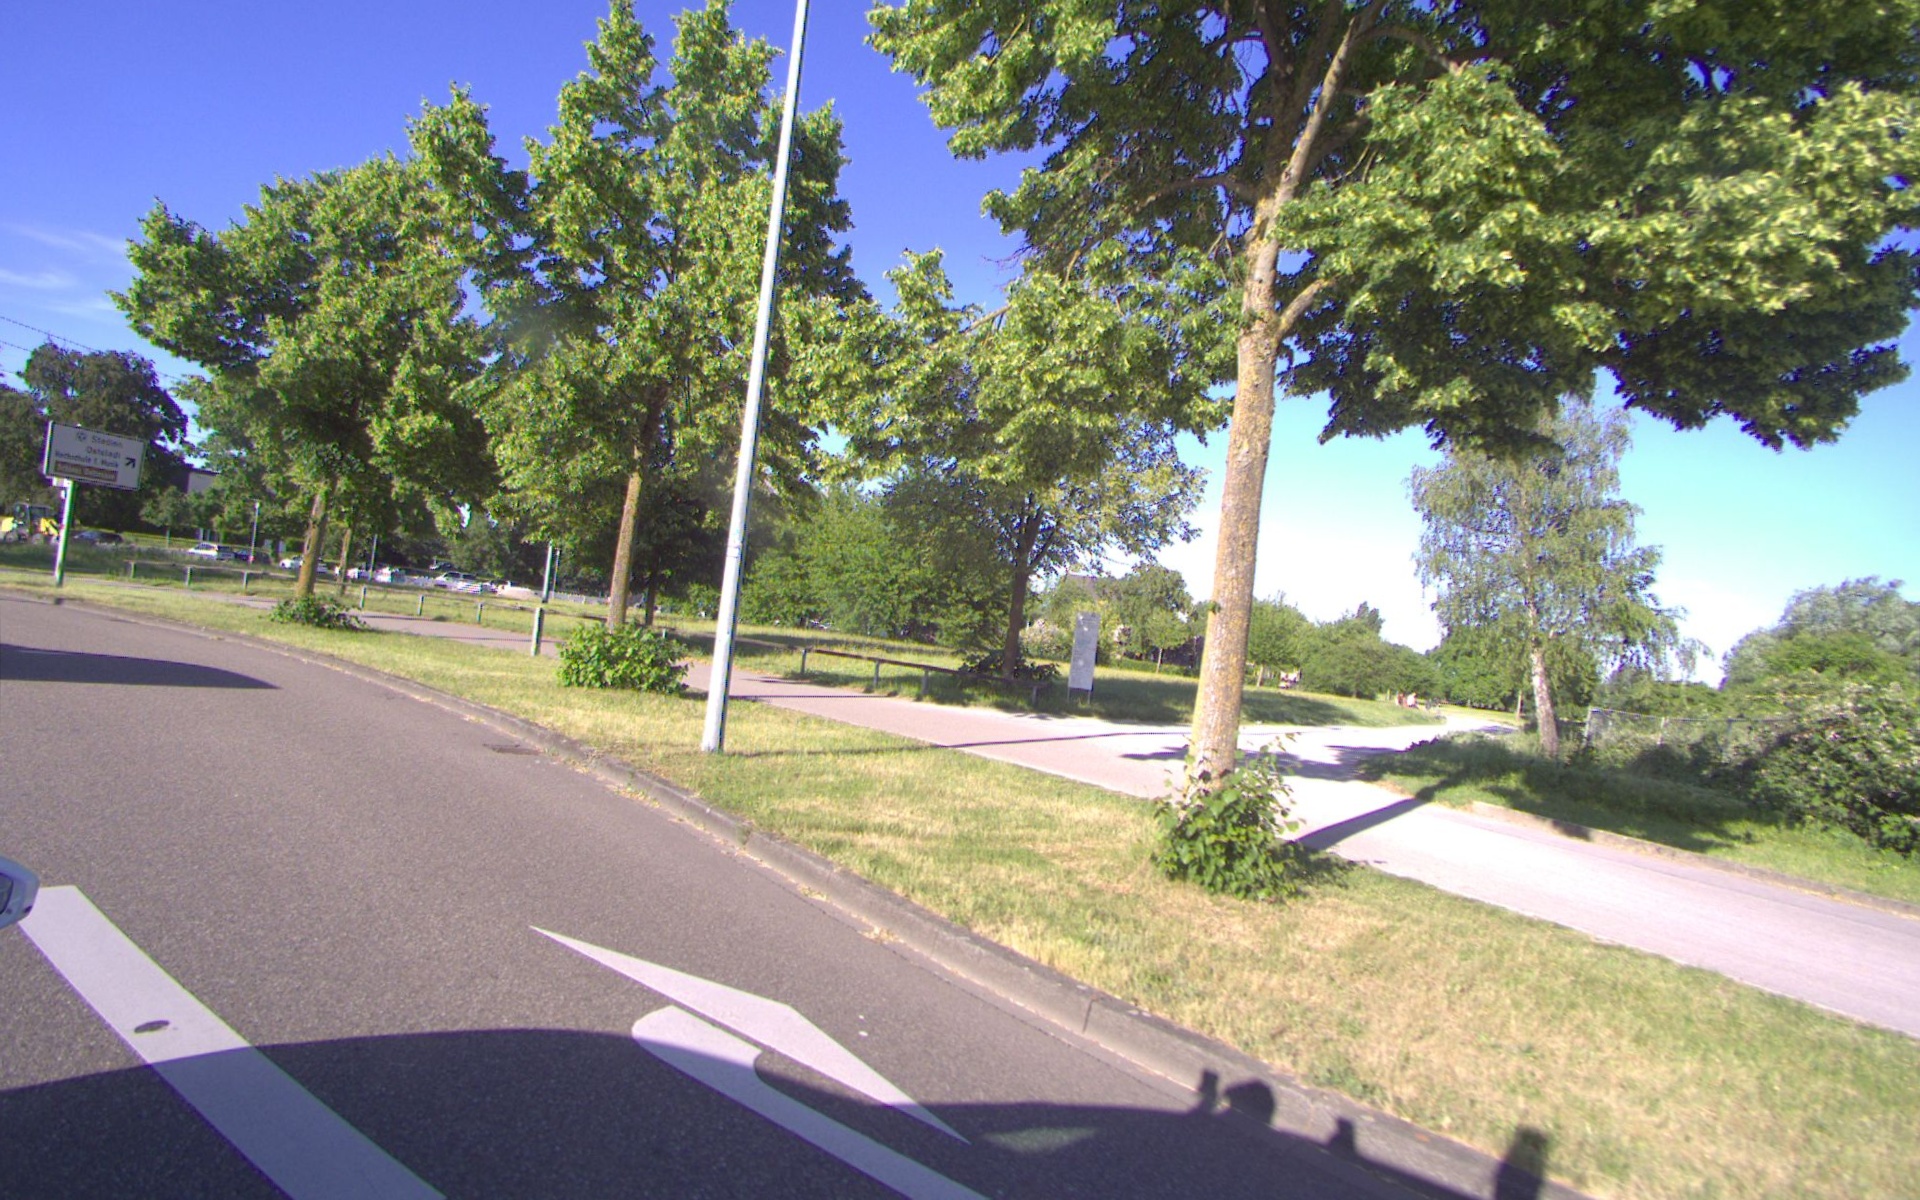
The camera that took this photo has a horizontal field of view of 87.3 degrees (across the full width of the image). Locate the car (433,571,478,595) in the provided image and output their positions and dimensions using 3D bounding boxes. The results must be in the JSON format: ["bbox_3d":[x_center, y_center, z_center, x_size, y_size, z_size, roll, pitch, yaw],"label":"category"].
[{"bbox_3d":[-45.806,-1.536,91.351,3.784,1.799,1.693,4,-4,31],"label":"car"}]

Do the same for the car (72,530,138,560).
[{"bbox_3d":[-57.551,-3.695,67.697,3.882,1.574,1.926,4,-4,27],"label":"car"}]

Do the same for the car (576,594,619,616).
[{"bbox_3d":[-38.358,0.489,106.439,3.931,1.917,2.000,4,-4,27],"label":"car"}]

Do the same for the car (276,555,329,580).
[{"bbox_3d":[-51.950,-2.599,79.521,3.742,1.573,1.833,4,-4,29],"label":"car"}]

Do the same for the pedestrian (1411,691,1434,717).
[{"bbox_3d":[28.205,6.337,61.369,0.783,1.457,0.771,7,-1,-17],"label":"pedestrian"}]

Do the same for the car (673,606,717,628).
[{"bbox_3d":[-27.016,1.719,102.470,3.931,1.775,1.914,4,-4,27],"label":"car"}]

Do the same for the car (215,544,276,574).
[{"bbox_3d":[-53.772,-3.082,75.716,3.931,1.788,2.000,4,-4,27],"label":"car"}]

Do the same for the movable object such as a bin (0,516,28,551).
[{"bbox_3d":[-59.177,-4.289,59.717,2.198,1.969,5.029,5,-4,19],"label":"movable object such as a bin"}]

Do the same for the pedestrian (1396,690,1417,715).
[{"bbox_3d":[27.609,6.336,62.228,0.783,1.457,0.685,7,-1,-17],"label":"pedestrian"}]

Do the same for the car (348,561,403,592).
[{"bbox_3d":[-49.038,-1.972,84.377,3.931,2.123,2.000,4,-4,27],"label":"car"}]

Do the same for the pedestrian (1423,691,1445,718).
[{"bbox_3d":[28.299,6.256,60.053,0.783,1.457,0.659,7,-1,-17],"label":"pedestrian"}]

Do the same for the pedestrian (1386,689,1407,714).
[{"bbox_3d":[27.552,6.417,63.490,0.783,1.457,0.685,7,-1,-17],"label":"pedestrian"}]

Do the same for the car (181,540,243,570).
[{"bbox_3d":[-55.056,-3.305,74.057,3.931,1.742,2.000,4,-4,27],"label":"car"}]

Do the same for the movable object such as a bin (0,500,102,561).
[{"bbox_3d":[-50.484,-3.836,55.662,4.952,2.819,2.003,5,-3,17],"label":"movable object such as a bin"}]
